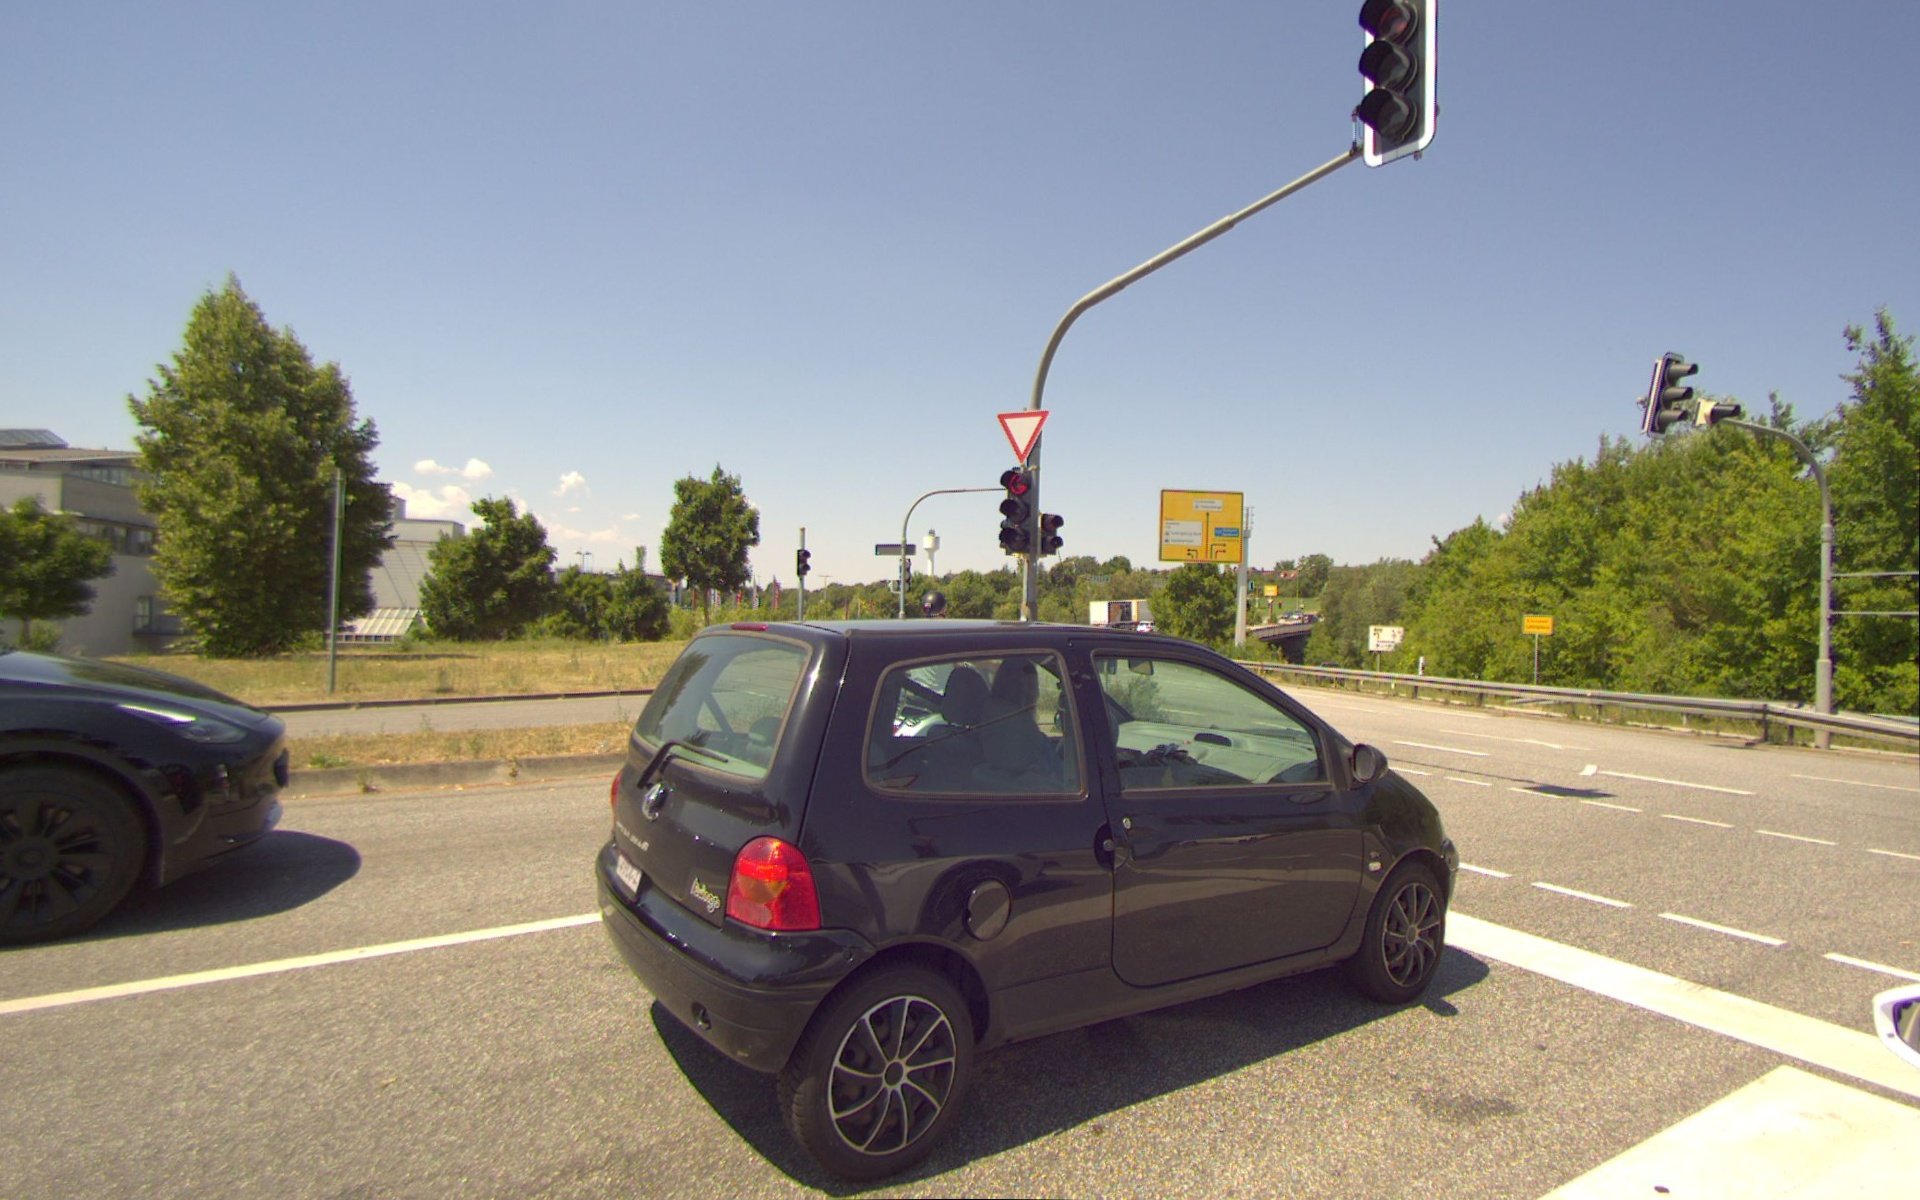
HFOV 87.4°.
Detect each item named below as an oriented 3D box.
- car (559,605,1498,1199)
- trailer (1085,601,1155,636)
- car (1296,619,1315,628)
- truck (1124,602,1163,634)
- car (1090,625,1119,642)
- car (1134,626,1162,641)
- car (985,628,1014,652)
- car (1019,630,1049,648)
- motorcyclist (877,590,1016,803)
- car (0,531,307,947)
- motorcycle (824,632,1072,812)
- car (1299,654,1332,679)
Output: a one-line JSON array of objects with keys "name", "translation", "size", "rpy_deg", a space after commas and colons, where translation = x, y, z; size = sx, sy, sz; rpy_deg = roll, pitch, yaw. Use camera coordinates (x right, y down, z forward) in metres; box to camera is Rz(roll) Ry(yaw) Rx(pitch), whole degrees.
[{"name": "car", "translation": [0.382, 0.781, 3.818], "size": [3.267, 1.426, 1.609], "rpy_deg": [2, -1, -34]}, {"name": "trailer", "translation": [21.431, 2.351, 133.056], "size": [3.186, 4.305, 15.366], "rpy_deg": [1, 0, 33]}, {"name": "car", "translation": [66.641, 4.547, 193.713], "size": [3.759, 1.696, 1.755], "rpy_deg": [2, -1, -43]}, {"name": "truck", "translation": [25.553, 2.426, 139.476], "size": [3.186, 4.305, 6.220], "rpy_deg": [1, 1, 33]}, {"name": "car", "translation": [16.098, 3.695, 111.659], "size": [1.849, 1.644, 3.993], "rpy_deg": [1, 0, 29]}, {"name": "car", "translation": [23.128, 4.075, 123.240], "size": [1.902, 1.687, 3.987], "rpy_deg": [1, 1, 35]}, {"name": "car", "translation": [2.707, 2.734, 68.672], "size": [1.776, 1.452, 3.930], "rpy_deg": [4, -2, 3]}, {"name": "car", "translation": [7.511, 3.915, 101.687], "size": [1.849, 1.755, 3.998], "rpy_deg": [1, 0, 23]}, {"name": "motorcyclist", "translation": [-0.106, 0.728, 7.892], "size": [0.838, 1.560, 0.607], "rpy_deg": [3, 0, -34]}, {"name": "car", "translation": [-5.276, 0.500, 3.939], "size": [4.462, 1.622, 1.862], "rpy_deg": [2, 0, -36]}, {"name": "motorcycle", "translation": [-0.058, 0.915, 7.916], "size": [1.921, 1.255, 0.572], "rpy_deg": [3, -1, -35]}, {"name": "car", "translation": [23.923, 4.465, 67.643], "size": [1.775, 1.452, 4.416], "rpy_deg": [4, -2, 16]}]
